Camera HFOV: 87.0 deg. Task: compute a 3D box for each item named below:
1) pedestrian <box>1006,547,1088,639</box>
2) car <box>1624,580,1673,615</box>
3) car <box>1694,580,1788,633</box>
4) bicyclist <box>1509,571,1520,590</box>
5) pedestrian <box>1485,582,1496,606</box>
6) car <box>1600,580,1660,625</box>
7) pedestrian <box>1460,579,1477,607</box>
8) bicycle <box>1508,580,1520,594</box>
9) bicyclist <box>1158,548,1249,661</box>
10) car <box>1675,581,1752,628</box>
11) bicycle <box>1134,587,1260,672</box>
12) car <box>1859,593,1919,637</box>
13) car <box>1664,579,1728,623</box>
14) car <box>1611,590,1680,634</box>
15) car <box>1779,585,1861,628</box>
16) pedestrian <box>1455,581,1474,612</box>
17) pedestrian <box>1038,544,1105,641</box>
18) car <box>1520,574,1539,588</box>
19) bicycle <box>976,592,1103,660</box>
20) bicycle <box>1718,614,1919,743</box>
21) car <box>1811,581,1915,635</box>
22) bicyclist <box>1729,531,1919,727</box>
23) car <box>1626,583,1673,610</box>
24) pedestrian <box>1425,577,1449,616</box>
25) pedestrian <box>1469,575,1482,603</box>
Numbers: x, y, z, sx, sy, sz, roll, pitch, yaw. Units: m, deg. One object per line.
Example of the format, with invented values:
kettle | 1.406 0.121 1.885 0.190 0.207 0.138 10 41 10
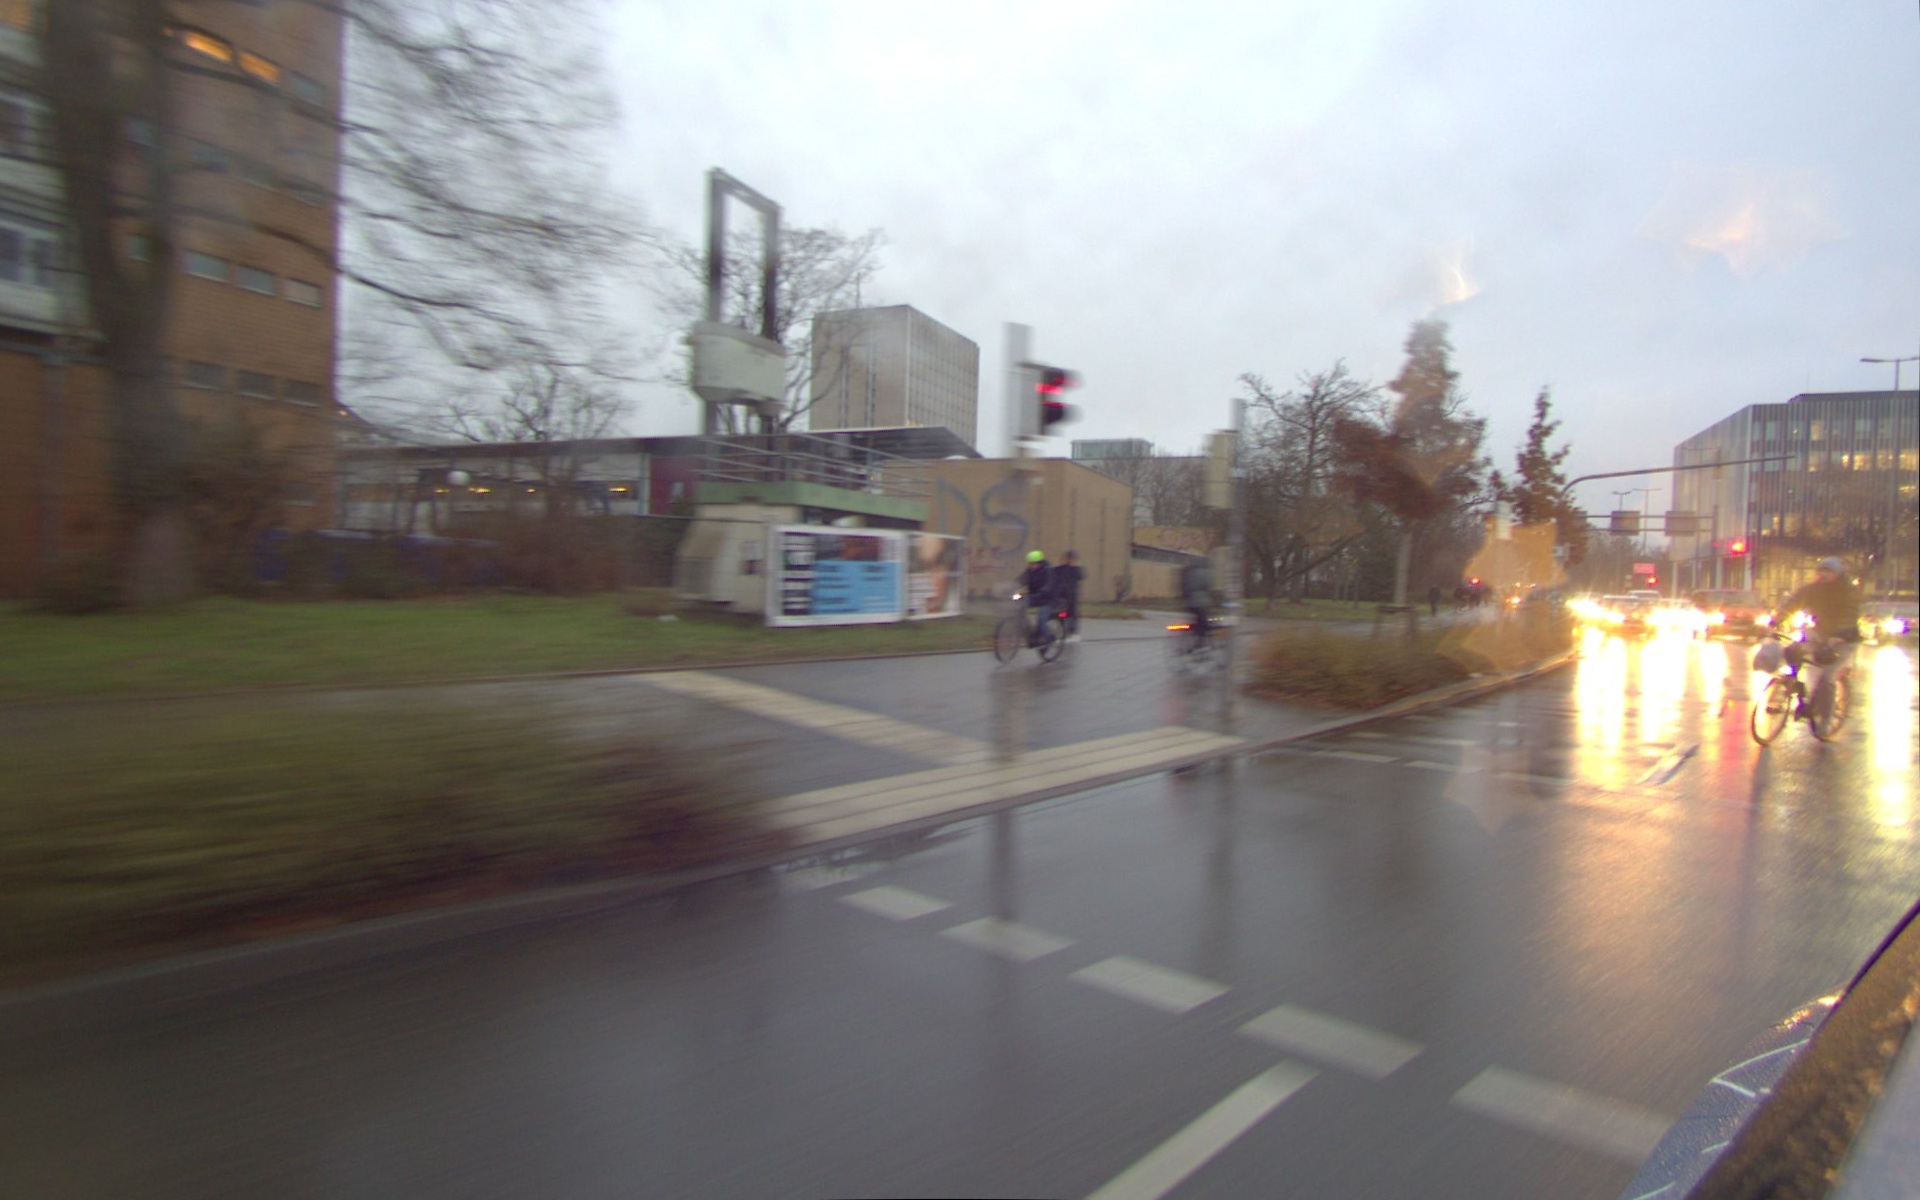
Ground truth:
pedestrian | 1.312 -0.115 15.327 0.832 1.333 0.877 0 2 -37
car | 41.000 -0.190 60.358 1.983 1.947 4.224 3 2 29
car | 29.418 0.191 38.274 1.983 1.771 4.896 3 3 29
bicyclist | 45.227 -1.623 82.564 0.761 1.508 0.984 3 2 30
pedestrian | 46.697 -0.558 89.086 0.759 2.038 0.765 2 2 28
car | 30.021 0.091 45.475 1.984 1.860 3.956 3 2 31
pedestrian | 34.496 -0.480 68.601 0.925 1.848 0.825 3 2 29
bicycle | 45.222 -1.079 82.584 0.788 1.028 2.874 3 3 29
bicyclist | 3.767 0.055 15.642 0.805 1.637 1.068 7 4 45
car | 32.178 0.139 43.362 1.983 1.771 4.425 3 3 29
bicycle | 3.676 0.425 15.592 0.804 1.155 2.178 7 5 44
car | 33.113 0.520 35.058 1.915 1.393 4.453 3 3 29
car | 34.778 0.004 47.936 1.984 1.927 3.957 3 2 30
car | 26.564 0.410 39.356 1.759 1.504 4.425 3 3 29
car | 39.981 0.254 47.146 1.983 1.771 4.425 3 3 29
pedestrian | 30.734 -0.240 61.598 0.925 1.848 0.825 3 2 29
pedestrian | 2.085 -0.140 18.860 0.903 1.708 0.920 4 1 25
car | 78.130 -2.599 138.844 2.124 1.838 3.960 3 3 29
bicycle | 1.230 0.370 15.361 2.057 0.958 0.563 0 3 -38
bicycle | 8.963 0.780 10.515 1.864 1.238 0.796 0 0 -18
car | 37.054 0.268 41.671 1.985 1.769 4.425 10 6 28
bicyclist | 8.960 0.279 10.509 1.210 1.907 1.029 1 0 -18
car | 44.795 -0.265 65.798 1.983 1.586 4.714 4 3 29
pedestrian | 23.085 -0.167 48.942 0.925 1.848 0.825 3 2 29
pedestrian | 37.937 -0.831 74.523 0.759 2.038 0.902 2 2 28
